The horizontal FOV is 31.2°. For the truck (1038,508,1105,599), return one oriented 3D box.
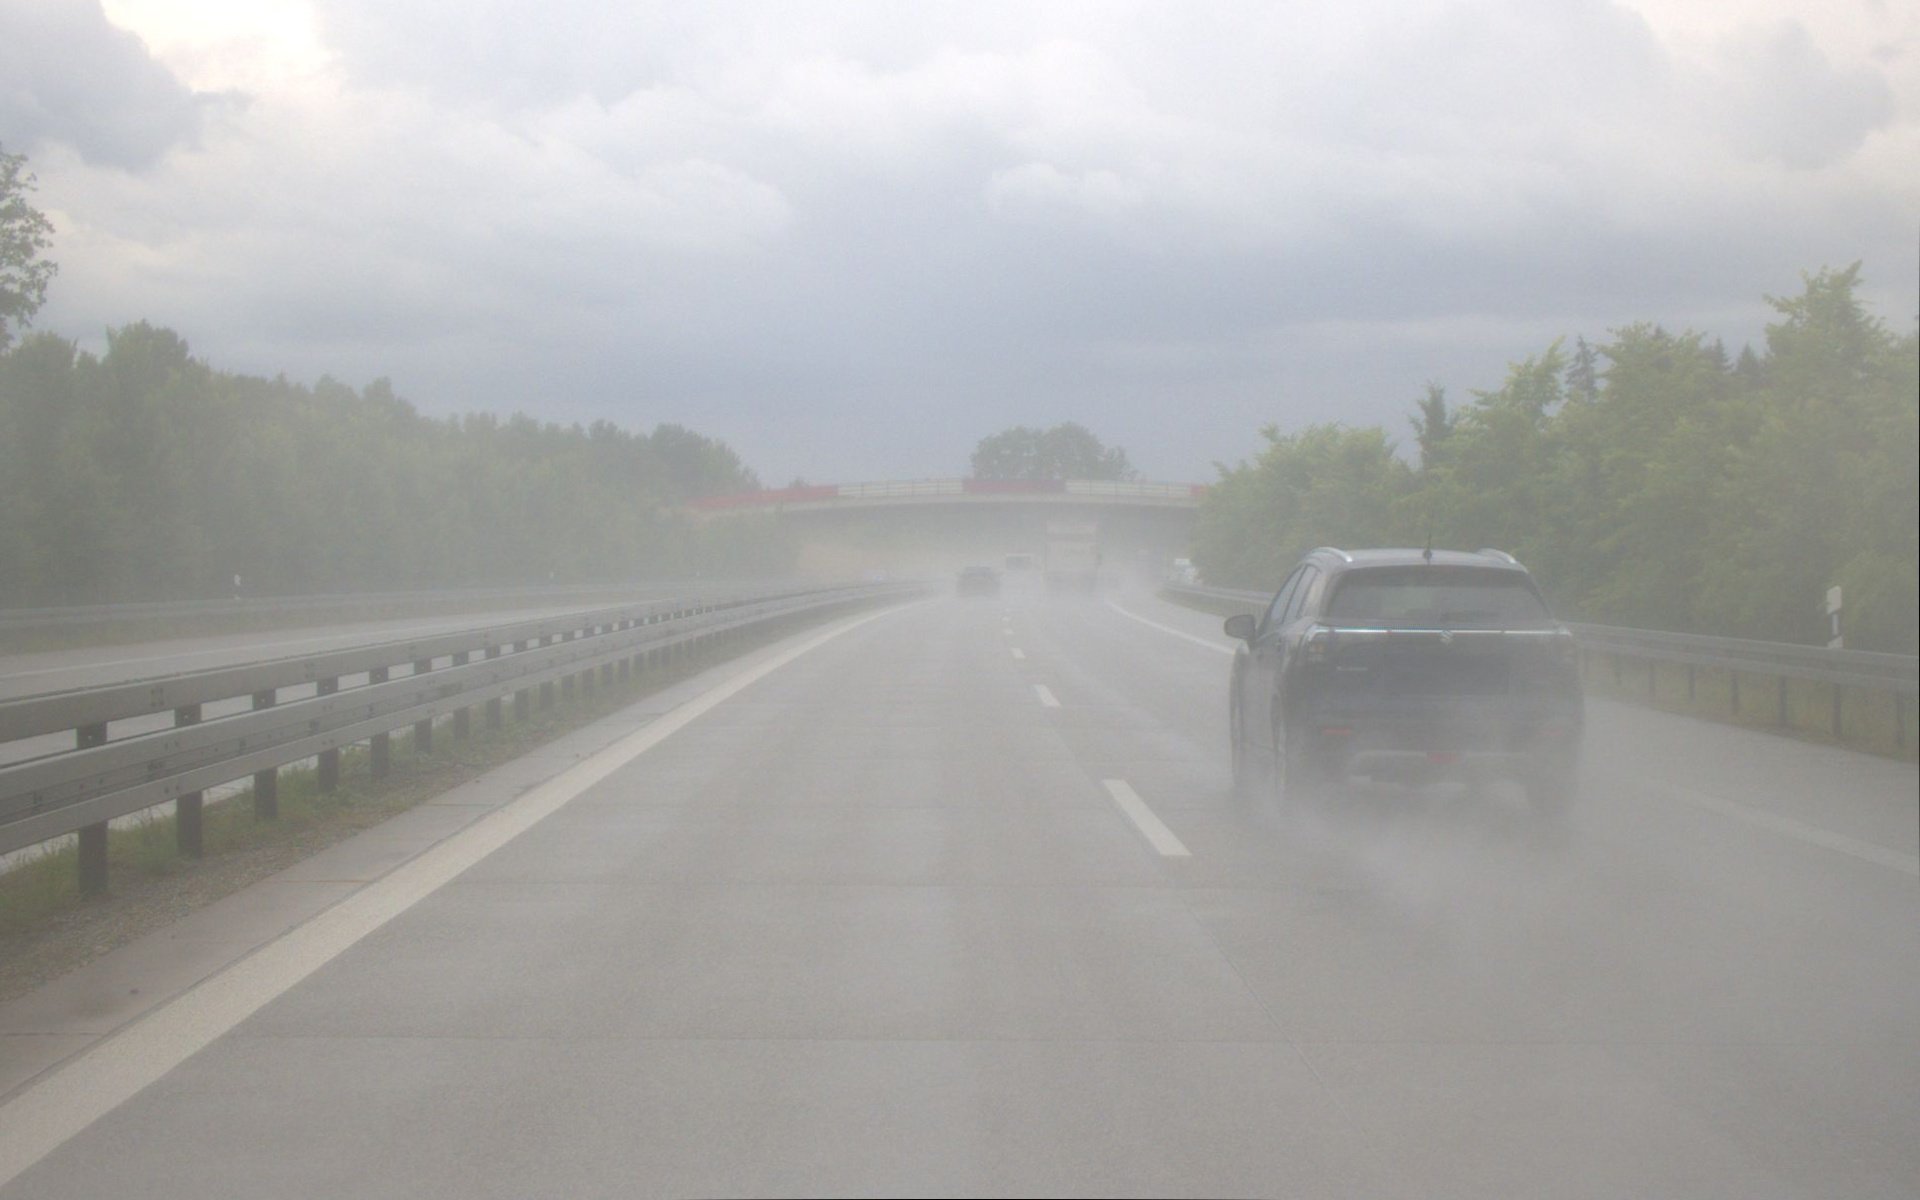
[{"bbox_3d":[5.531,-2.328,171.894,3.243,4.422,8.246,0,1,1],"label":"truck"}]

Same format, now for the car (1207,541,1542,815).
[{"bbox_3d":[2.542,0.442,21.833,1.894,1.570,3.631,1,0,4],"label":"car"}]
